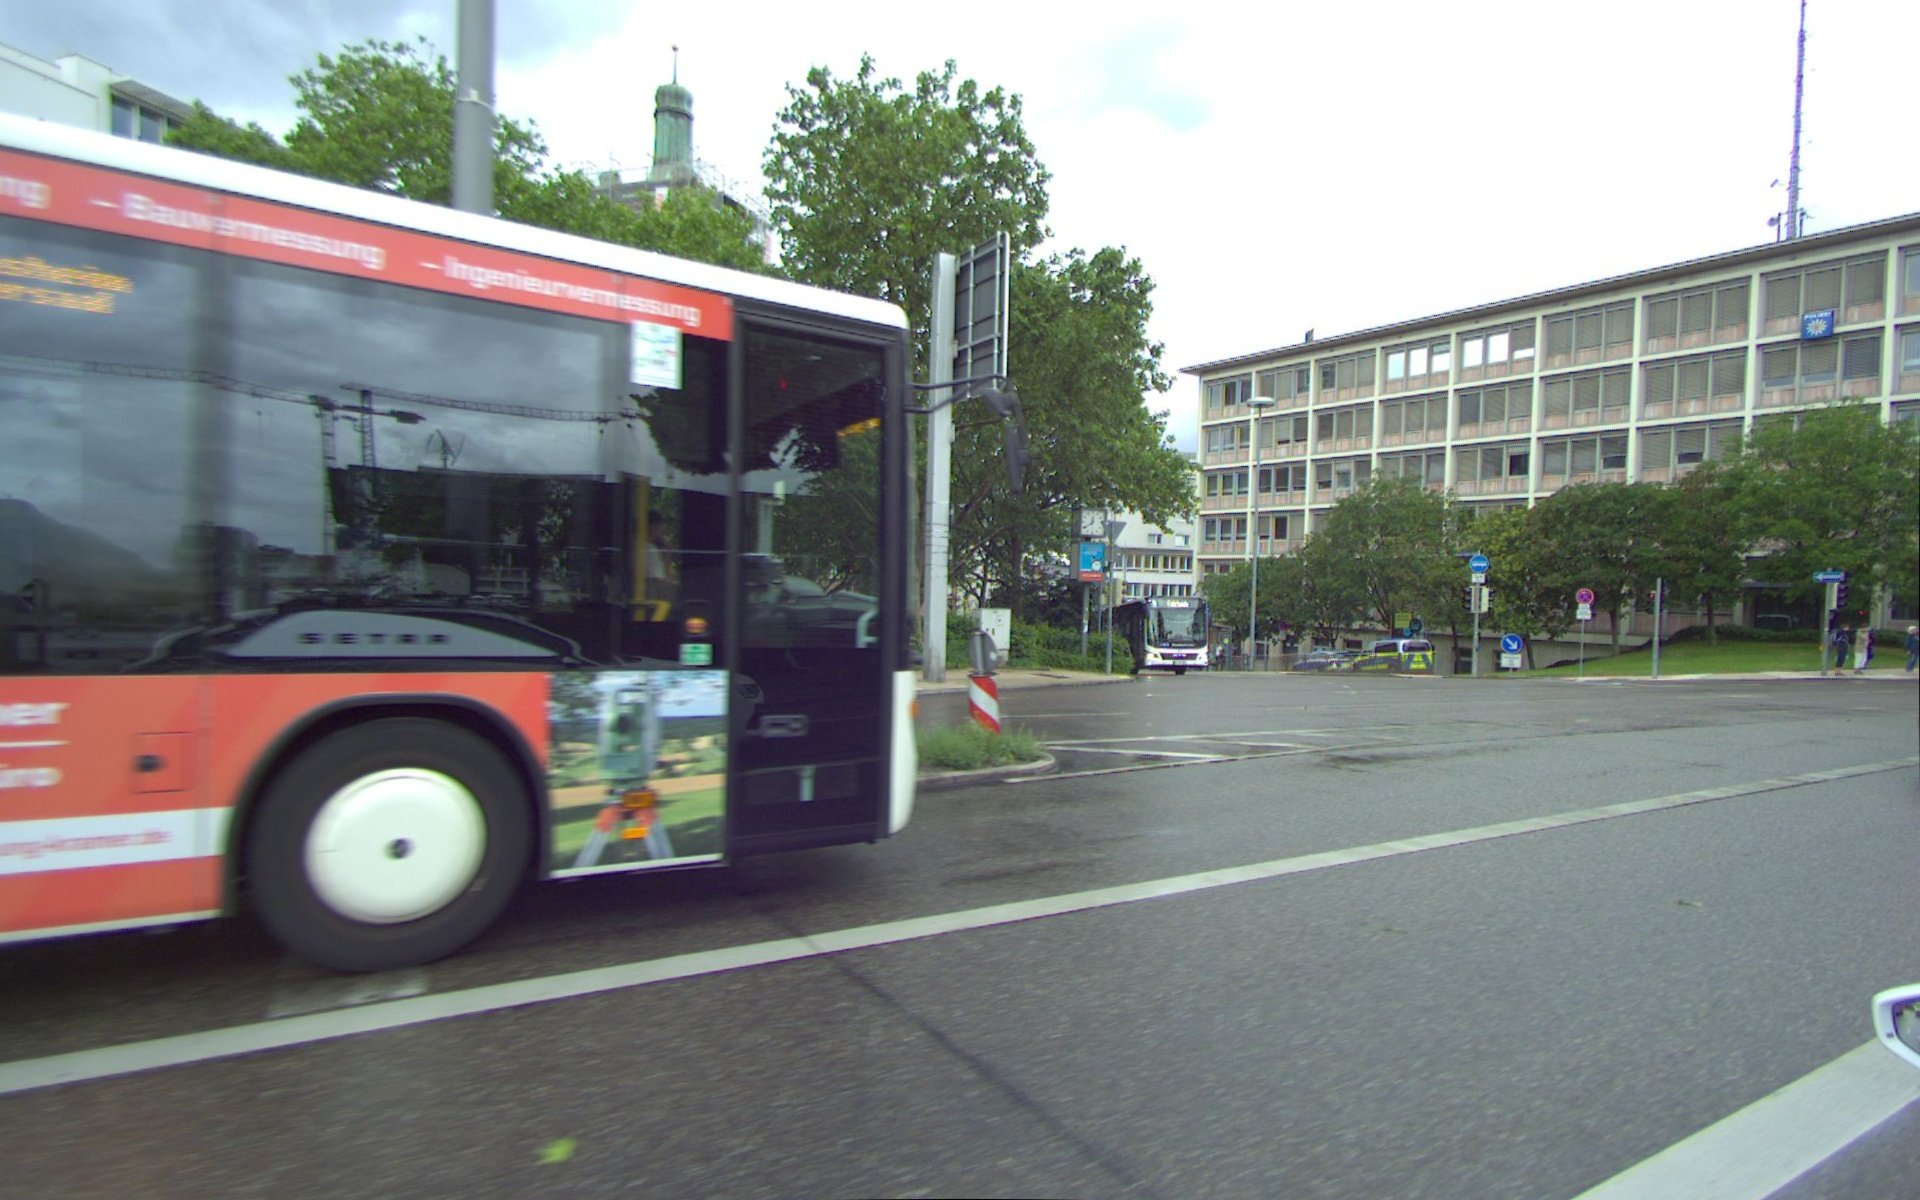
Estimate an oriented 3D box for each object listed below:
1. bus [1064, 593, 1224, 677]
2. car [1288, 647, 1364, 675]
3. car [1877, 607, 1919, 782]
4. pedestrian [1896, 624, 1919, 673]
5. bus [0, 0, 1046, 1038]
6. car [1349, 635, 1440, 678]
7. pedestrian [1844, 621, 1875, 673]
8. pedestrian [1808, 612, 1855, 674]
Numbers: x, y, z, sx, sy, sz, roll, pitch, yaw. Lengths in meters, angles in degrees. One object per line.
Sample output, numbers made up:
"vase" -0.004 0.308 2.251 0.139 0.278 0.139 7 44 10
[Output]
"bus" 7.497 1.641 43.294 2.837 3.058 11.957 1 -3 -10
"car" 20.443 3.387 56.282 1.964 1.438 4.581 0 -2 -10
"car" 11.294 0.951 10.169 4.312 1.661 1.953 2 -1 -33
"pedestrian" 32.043 1.621 33.836 0.918 1.624 0.647 1 0 -43
"bus" -5.559 -0.419 3.228 12.423 3.485 2.938 1 0 -33
"car" 21.477 2.785 49.833 1.964 1.990 4.581 1 -2 -10
"pedestrian" 30.873 1.596 34.471 0.791 1.733 0.648 1 0 -39
"pedestrian" 29.675 1.465 34.204 0.861 2.073 0.932 1 0 -24
